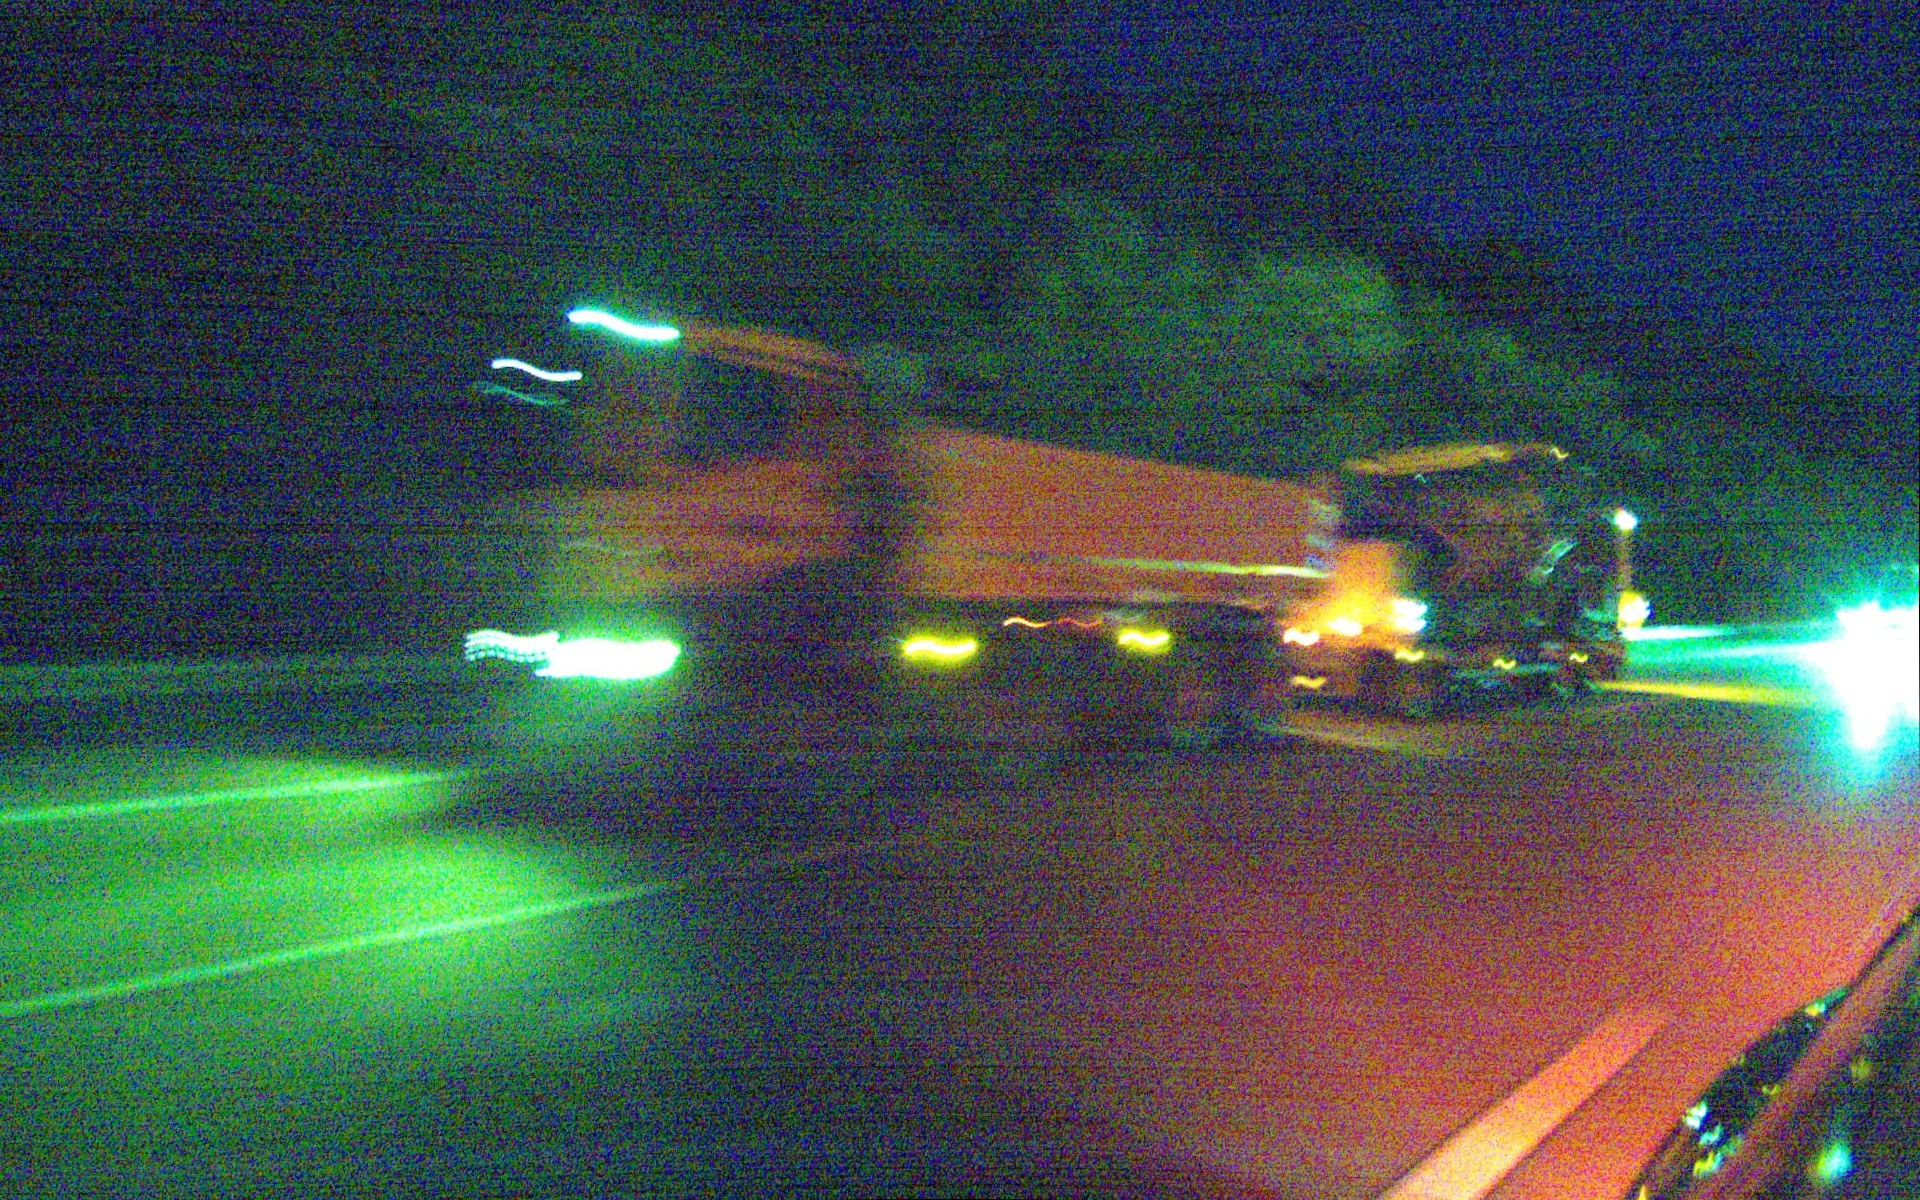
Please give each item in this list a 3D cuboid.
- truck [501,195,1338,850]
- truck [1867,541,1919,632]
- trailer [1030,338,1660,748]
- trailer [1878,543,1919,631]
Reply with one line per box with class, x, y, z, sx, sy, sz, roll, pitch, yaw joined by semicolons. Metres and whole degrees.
truck;0.210;-0.468;9.668;7.911;3.888;2.872;0;0;-40
truck;43.927;-0.589;46.401;3.928;4.022;2.899;1;0;-39
trailer;6.625;-0.660;15.013;12.658;3.981;2.880;-1;1;-40
trailer;50.164;-0.605;51.638;15.483;4.025;2.838;0;0;-40
